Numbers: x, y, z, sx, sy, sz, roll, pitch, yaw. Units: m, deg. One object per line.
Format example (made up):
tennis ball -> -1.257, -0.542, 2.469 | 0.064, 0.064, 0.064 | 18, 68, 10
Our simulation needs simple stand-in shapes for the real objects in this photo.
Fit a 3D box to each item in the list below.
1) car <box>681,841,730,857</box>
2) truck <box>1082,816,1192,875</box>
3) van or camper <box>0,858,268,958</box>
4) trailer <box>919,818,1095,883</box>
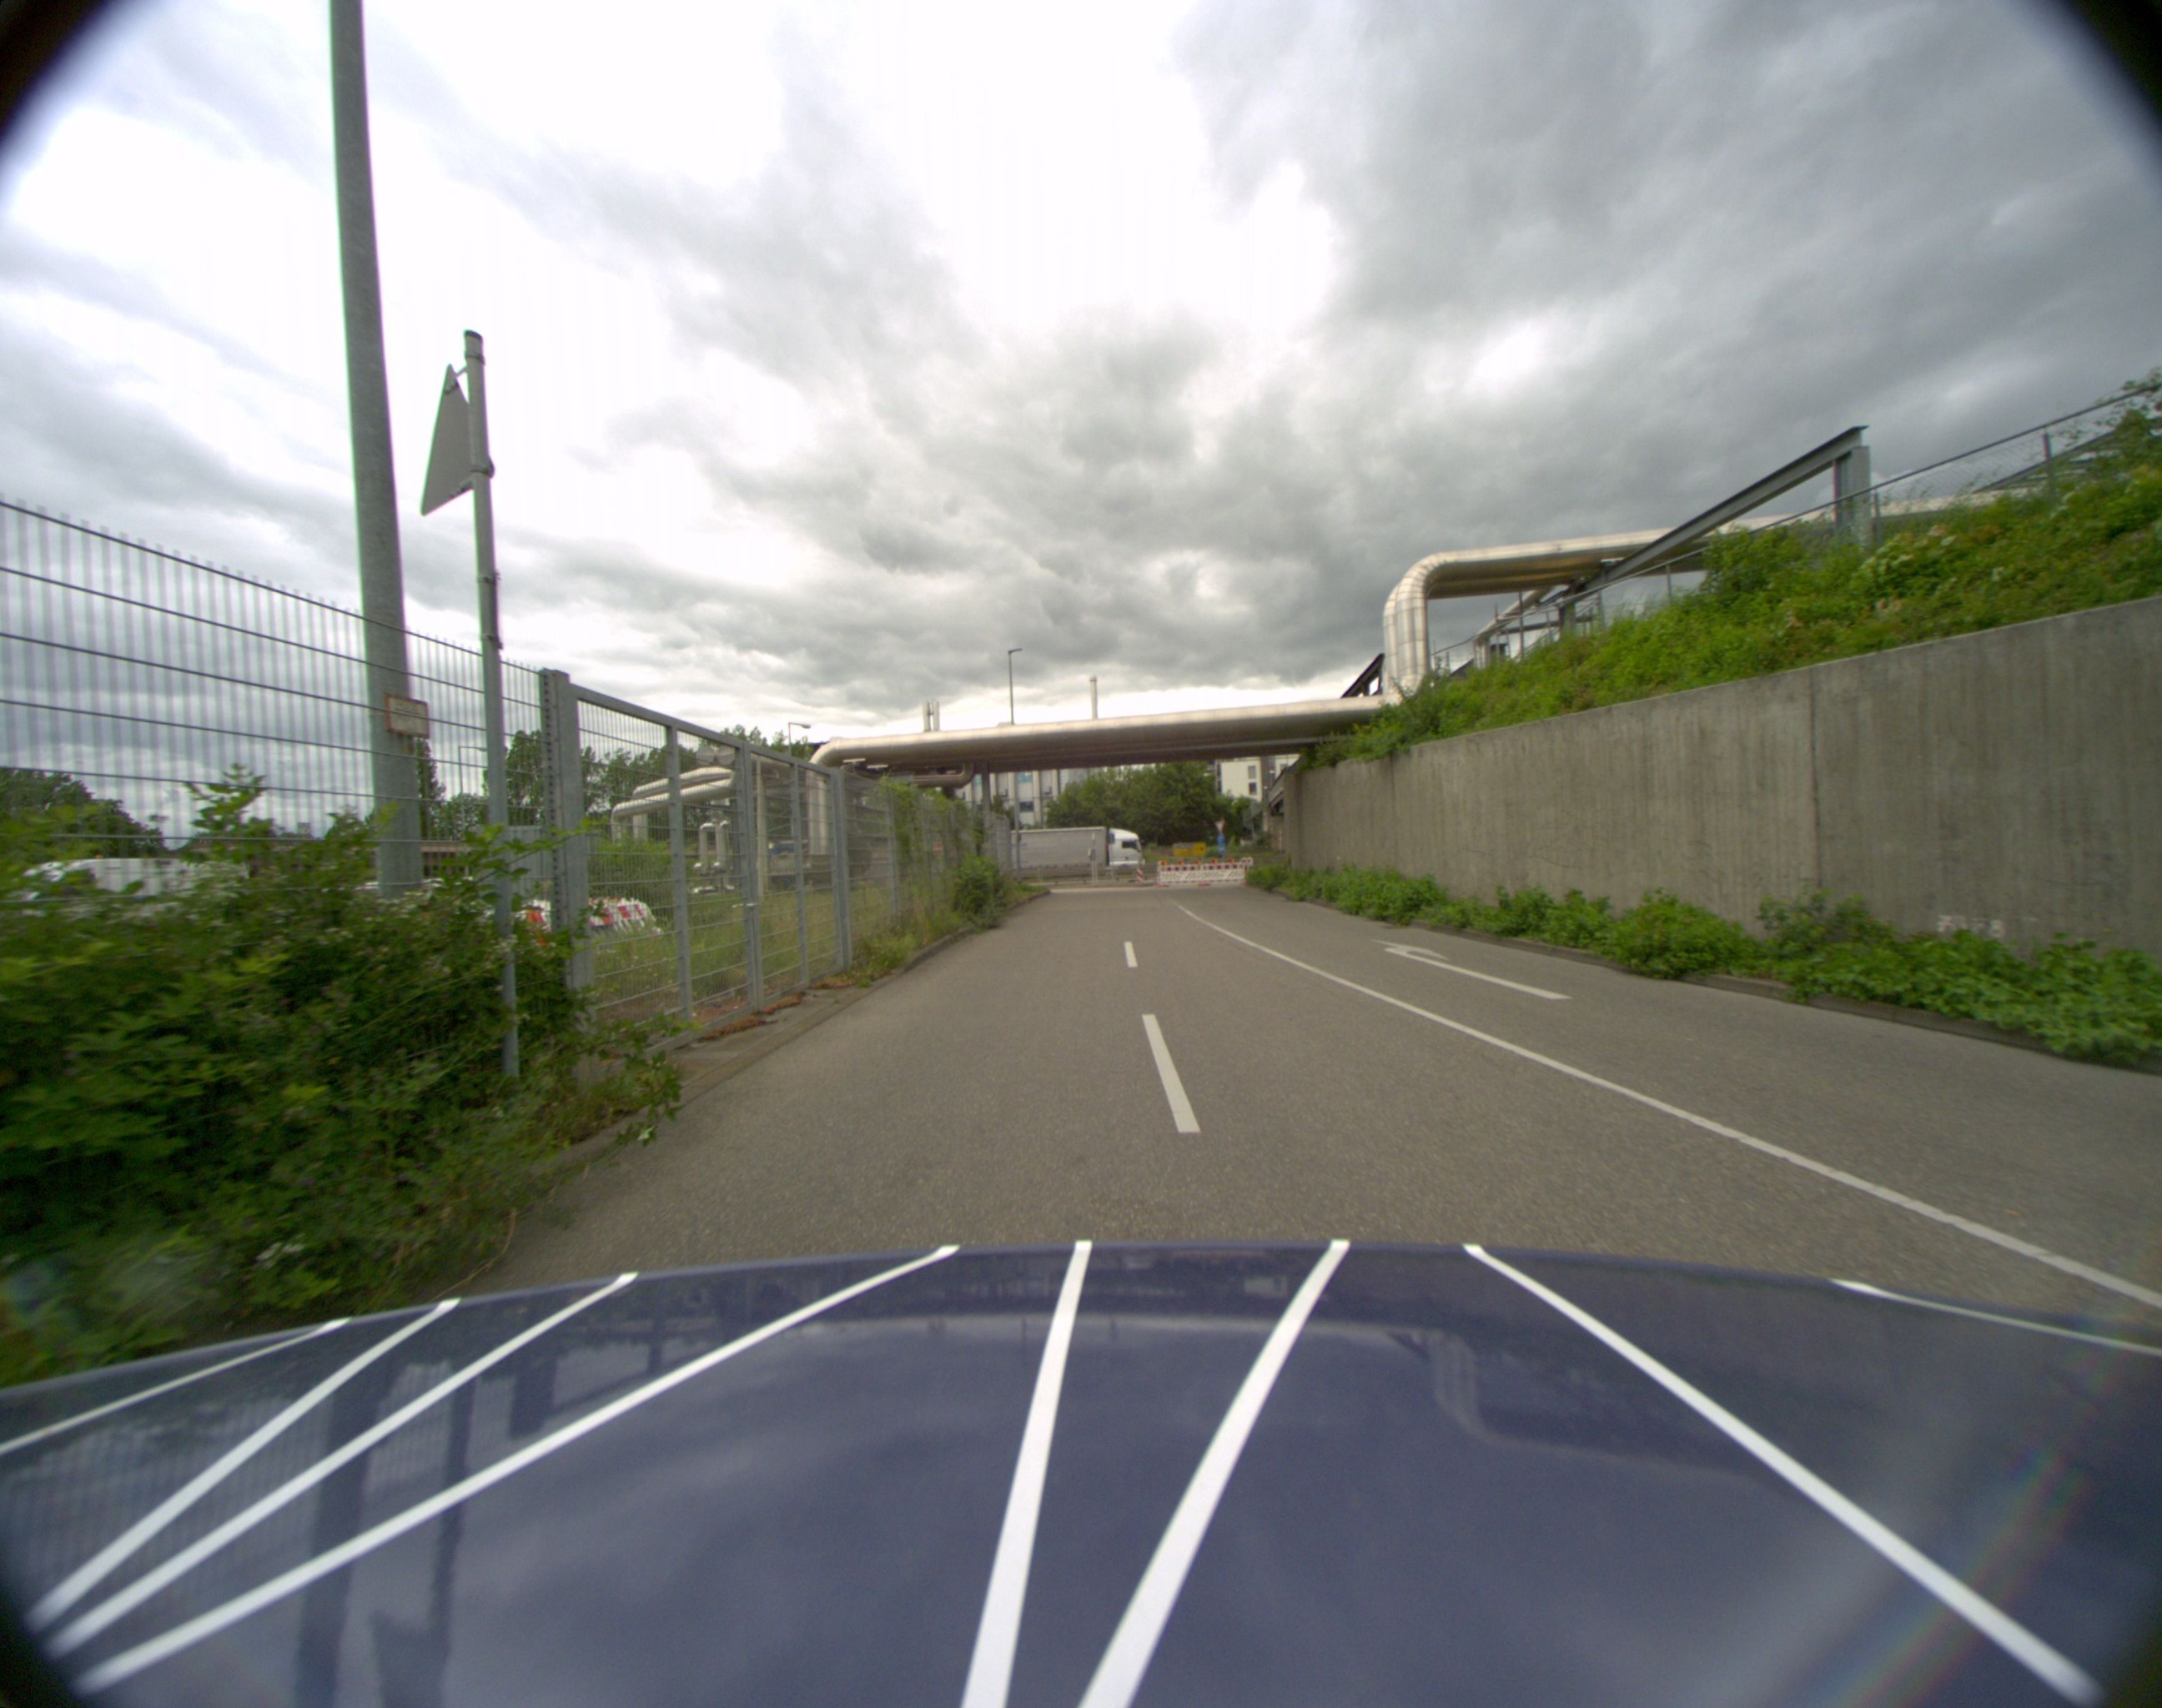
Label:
car -> -40.286, -0.524, 81.569 | 4.288, 1.503, 1.981 | -2, 3, 3
truck -> 4.282, -0.699, 59.153 | 8.134, 4.108, 3.163 | -3, 3, 0
van or camper -> -29.089, 1.486, 22.624 | 2.571, 2.533, 6.131 | -2, 0, 12
trailer -> -5.601, -0.279, 59.420 | 13.253, 4.300, 3.165 | -3, 2, 1
